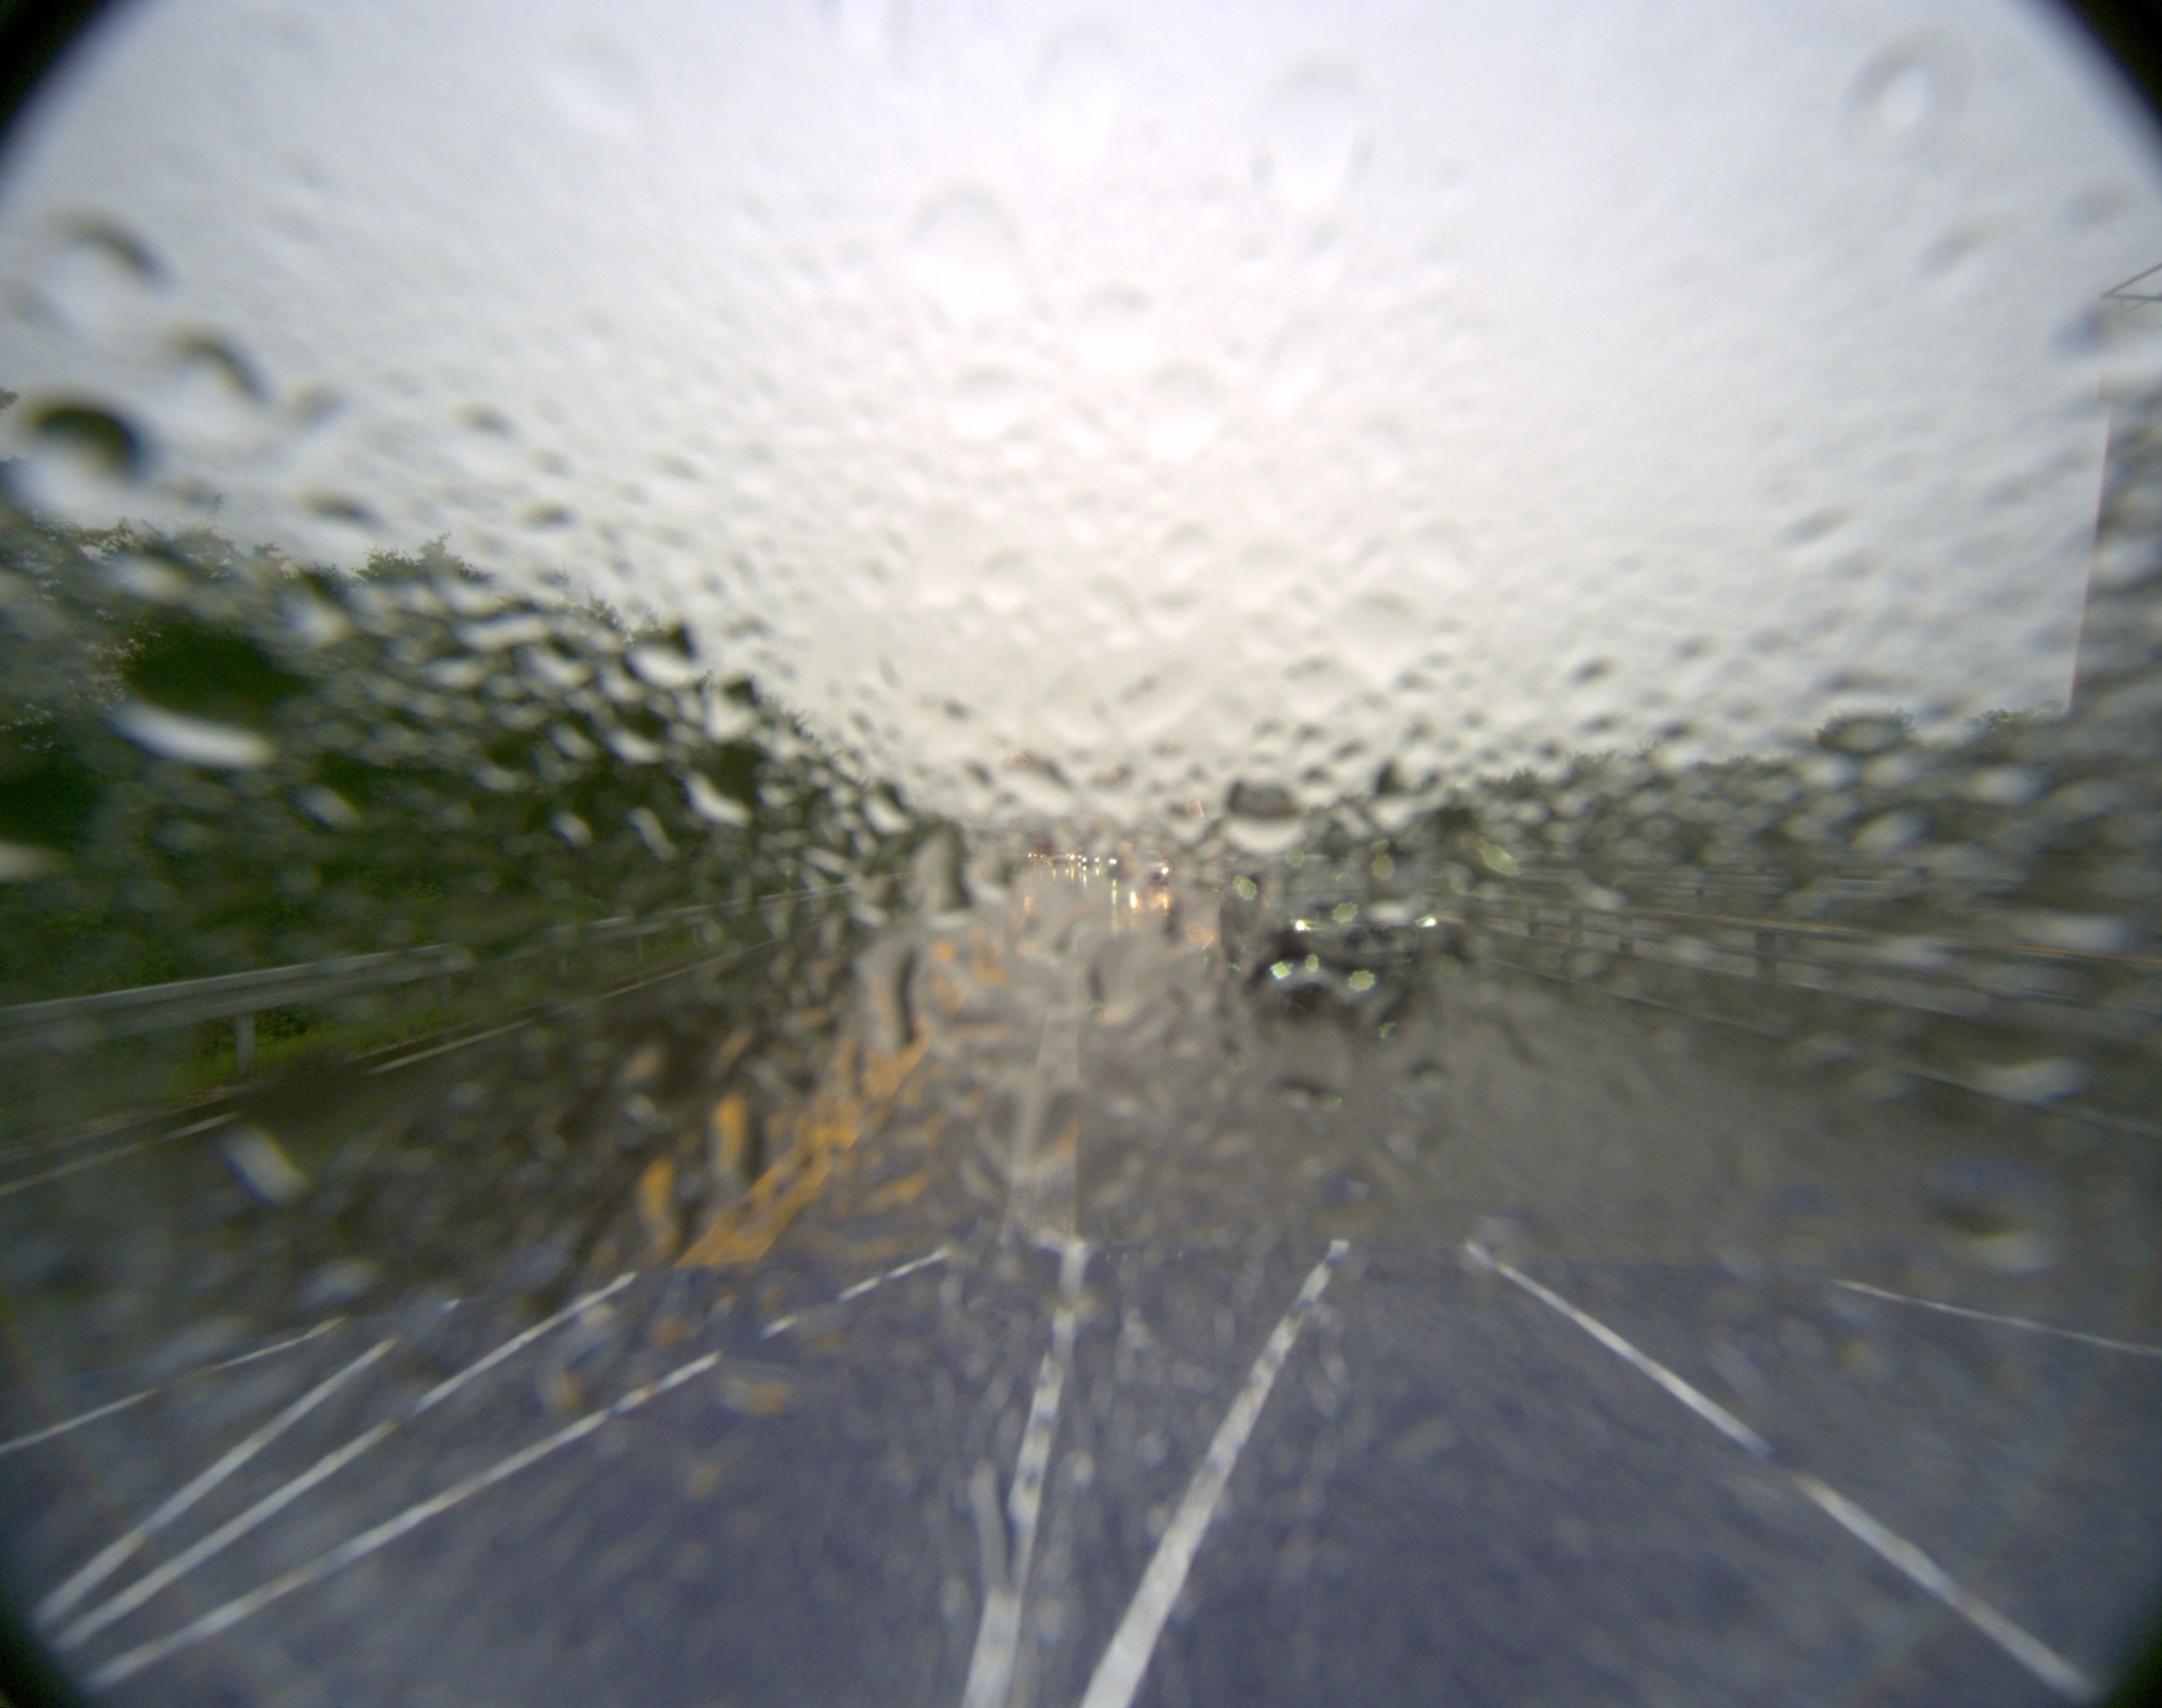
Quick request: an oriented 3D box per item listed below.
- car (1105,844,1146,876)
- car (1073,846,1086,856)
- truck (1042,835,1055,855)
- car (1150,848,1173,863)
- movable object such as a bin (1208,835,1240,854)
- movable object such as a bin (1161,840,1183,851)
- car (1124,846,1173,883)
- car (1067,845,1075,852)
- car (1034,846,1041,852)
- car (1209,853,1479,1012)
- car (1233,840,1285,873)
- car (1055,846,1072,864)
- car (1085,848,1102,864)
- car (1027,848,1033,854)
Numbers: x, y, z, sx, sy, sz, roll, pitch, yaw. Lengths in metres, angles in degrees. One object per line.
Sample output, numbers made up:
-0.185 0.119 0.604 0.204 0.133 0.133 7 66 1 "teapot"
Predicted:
2.972 0.361 52.171 2.212 2.002 5.562 -3 1 -2 "car"
-0.308 -0.518 122.552 1.845 1.586 3.998 -3 1 -3 "car"
-6.650 -1.828 157.115 2.484 4.061 8.701 -3 1 -2 "truck"
8.724 0.104 82.654 1.852 1.494 4.129 -2 1 -1 "car"
22.807 -1.551 121.448 3.775 2.782 6.328 -2 1 -2 "movable object such as a bin"
19.491 -1.769 162.716 3.449 2.281 5.096 -3 1 -8 "movable object such as a bin"
3.101 0.479 35.703 1.978 1.586 4.310 -2 -1 1 "car"
-3.061 -1.587 221.725 1.957 1.707 5.100 -3 1 -4 "car"
-11.996 -1.366 209.954 1.752 1.579 3.998 -3 1 -2 "car"
3.043 0.791 9.972 1.998 1.489 4.630 -2 1 1 "car"
9.422 0.104 40.495 1.783 1.595 4.316 -2 1 1 "car"
-2.049 0.114 89.736 1.882 2.002 3.998 -3 1 -2 "car"
1.473 0.208 88.531 1.695 1.740 3.998 -3 1 -2 "car"
-16.084 -0.979 239.541 1.752 1.579 3.998 -3 1 -2 "car"
